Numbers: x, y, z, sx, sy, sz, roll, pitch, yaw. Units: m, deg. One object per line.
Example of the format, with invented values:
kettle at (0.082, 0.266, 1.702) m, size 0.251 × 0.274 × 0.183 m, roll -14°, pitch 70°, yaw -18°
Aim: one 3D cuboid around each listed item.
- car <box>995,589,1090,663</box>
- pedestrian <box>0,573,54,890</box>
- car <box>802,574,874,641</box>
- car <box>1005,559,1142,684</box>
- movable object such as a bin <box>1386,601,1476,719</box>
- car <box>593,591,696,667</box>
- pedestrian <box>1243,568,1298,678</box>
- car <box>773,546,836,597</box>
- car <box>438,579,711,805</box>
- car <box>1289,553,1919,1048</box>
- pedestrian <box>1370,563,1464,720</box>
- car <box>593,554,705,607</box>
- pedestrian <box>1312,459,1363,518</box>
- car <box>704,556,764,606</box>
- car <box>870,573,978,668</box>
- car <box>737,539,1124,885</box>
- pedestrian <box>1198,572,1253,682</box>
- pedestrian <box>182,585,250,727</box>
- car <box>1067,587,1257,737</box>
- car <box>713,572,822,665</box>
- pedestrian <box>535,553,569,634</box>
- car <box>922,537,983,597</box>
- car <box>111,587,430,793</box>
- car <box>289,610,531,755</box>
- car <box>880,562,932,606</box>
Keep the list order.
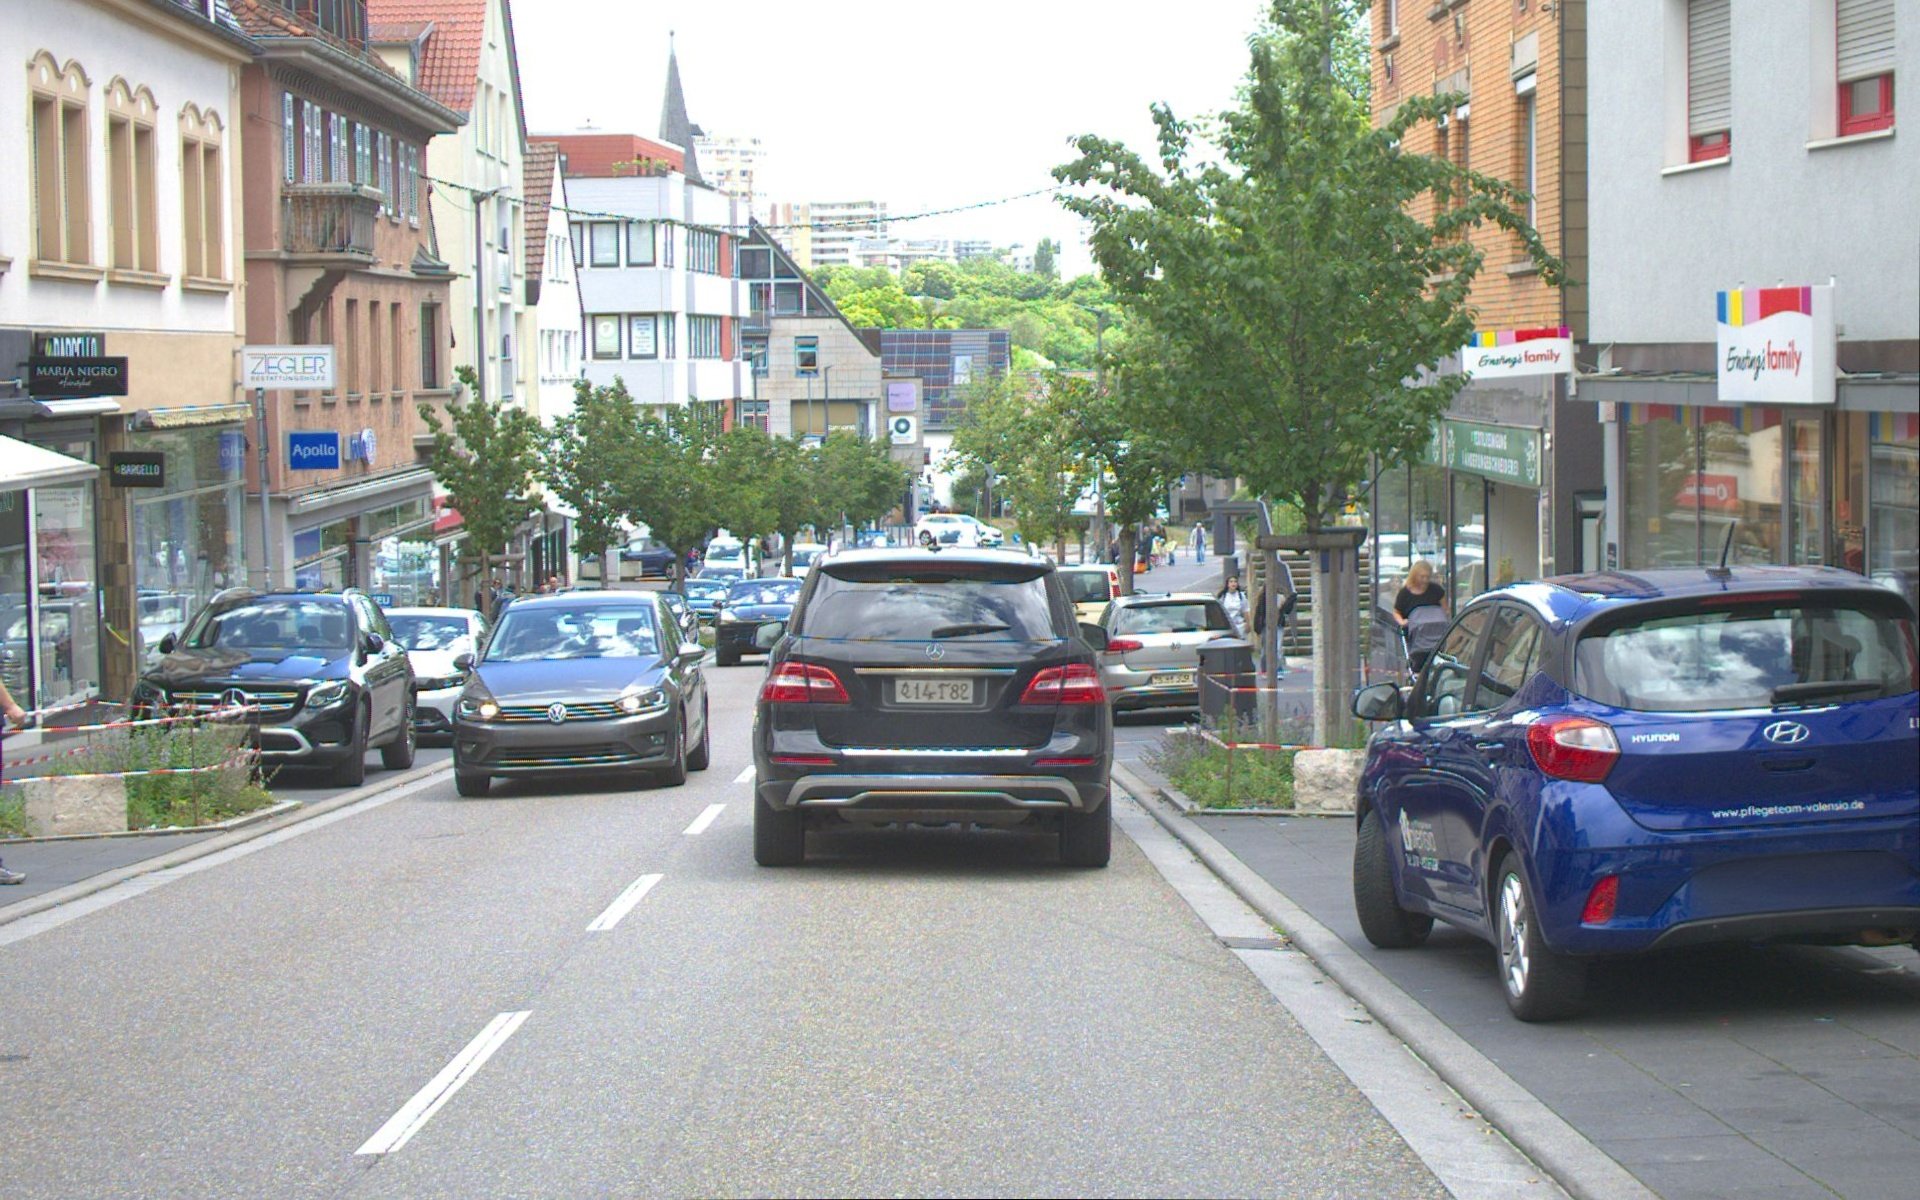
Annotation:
car at (1.766, 0.547, 75.142) m, size 1.938 × 1.452 × 4.707 m, roll -1°, pitch 1°, yaw 0°
pedestrian at (-5.339, 0.691, 18.478) m, size 0.737 × 1.666 × 0.863 m, roll 0°, pitch 0°, yaw -3°
car at (-3.144, 0.177, 89.352) m, size 1.764 × 1.611 × 4.033 m, roll -2°, pitch 1°, yaw -1°
car at (1.842, 0.312, 57.149) m, size 1.938 × 1.885 × 4.707 m, roll -3°, pitch 1°, yaw -1°
movable object such as a bin at (4.803, 0.608, 35.125) m, size 0.721 × 1.154 × 0.907 m, roll -3°, pitch 0°, yaw -1°
car at (-6.829, 0.610, 74.792) m, size 1.926 × 1.491 × 4.262 m, roll 2°, pitch 1°, yaw -2°
pedestrian at (4.723, 0.341, 52.255) m, size 0.671 × 1.627 × 0.670 m, roll -3°, pitch 0°, yaw -3°
car at (-5.224, -0.964, 115.779) m, size 1.926 × 1.623 × 4.262 m, roll 2°, pitch 1°, yaw 0°
car at (-3.044, 0.693, 27.911) m, size 1.819 × 1.612 × 4.136 m, roll -3°, pitch 0°, yaw -2°
car at (2.483, 0.643, 12.813) m, size 1.748 × 1.492 × 3.800 m, roll -3°, pitch 0°, yaw -5°
pedestrian at (4.777, 0.424, 35.992) m, size 0.735 × 1.579 × 1.000 m, roll -3°, pitch 0°, yaw -1°
car at (-11.381, -0.720, 126.092) m, size 3.986 × 1.744 × 2.000 m, roll -3°, pitch 0°, yaw -4°
pedestrian at (8.089, -2.397, 73.728) m, size 0.990 × 1.227 × 0.983 m, roll 0°, pitch 0°, yaw 1°
car at (-7.790, -0.662, 118.753) m, size 1.926 × 1.623 × 4.415 m, roll 2°, pitch 1°, yaw -2°
car at (-0.665, 0.347, 64.390) m, size 1.926 × 1.623 × 4.262 m, roll 2°, pitch 1°, yaw 0°
car at (-0.157, 0.542, 19.588) m, size 1.943 × 1.734 × 4.179 m, roll 1°, pitch 1°, yaw 0°
pedestrian at (4.019, 0.398, 52.102) m, size 0.671 × 1.627 × 0.670 m, roll -3°, pitch 0°, yaw -3°
pedestrian at (-8.424, 0.623, 38.935) m, size 0.547 × 1.570 × 0.863 m, roll -2°, pitch 1°, yaw -1°
car at (2.268, 0.666, 39.497) m, size 1.748 × 1.460 × 4.075 m, roll -4°, pitch 1°, yaw -1°
car at (-3.765, 0.334, 67.939) m, size 1.992 × 1.712 × 4.447 m, roll -1°, pitch 1°, yaw -2°
pedestrian at (-8.489, -0.138, 71.567) m, size 0.641 × 1.662 × 0.720 m, roll 0°, pitch 0°, yaw -1°
car at (-0.297, -1.398, 143.338) m, size 2.174 × 2.356 × 4.622 m, roll -3°, pitch 1°, yaw 4°
car at (-5.843, 0.714, 29.660) m, size 1.926 × 1.616 × 4.640 m, roll 1°, pitch 0°, yaw -2°
car at (-5.915, 0.850, 37.414) m, size 1.926 × 1.425 × 4.262 m, roll 0°, pitch 1°, yaw 0°
car at (-1.957, -0.585, 123.218) m, size 1.812 × 1.503 × 4.000 m, roll -1°, pitch 0°, yaw -1°
